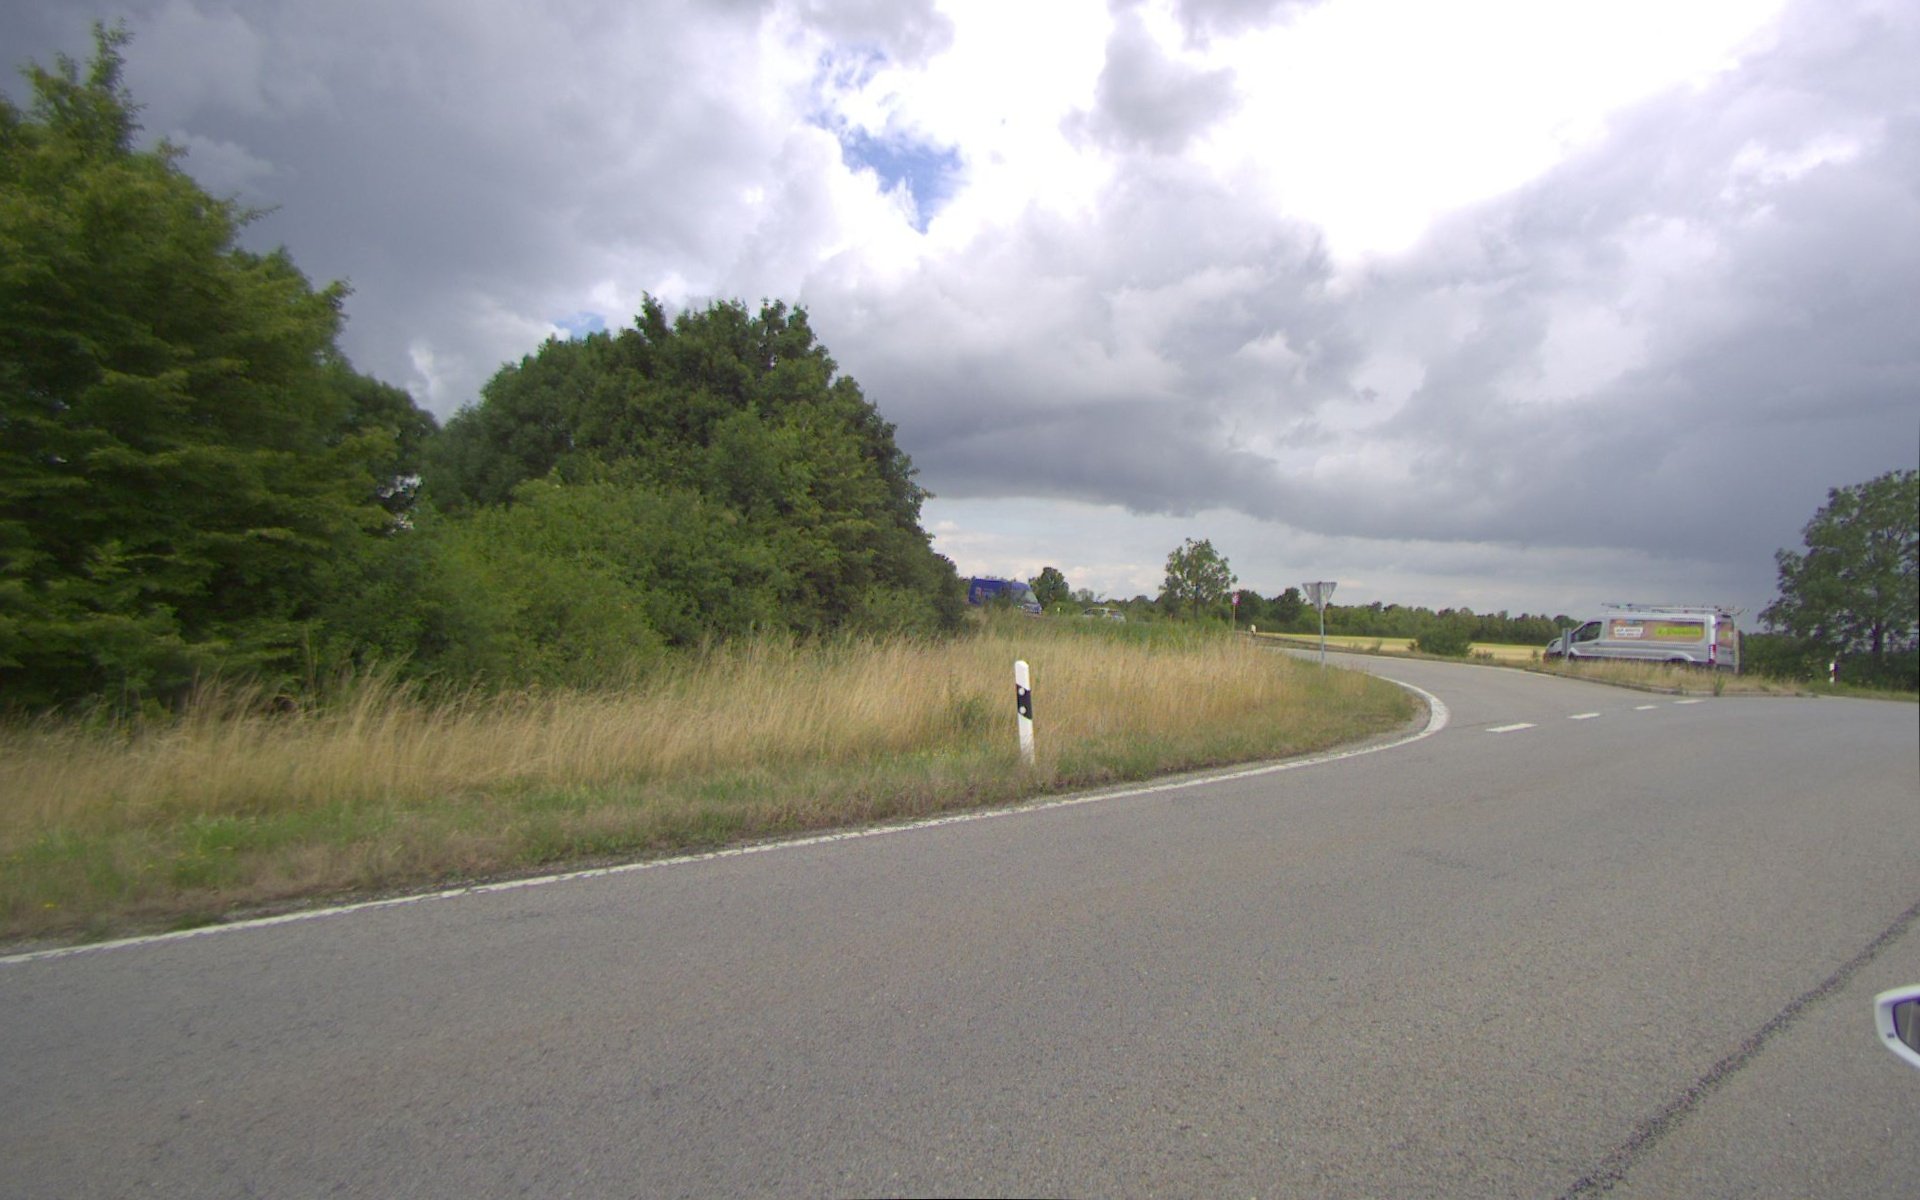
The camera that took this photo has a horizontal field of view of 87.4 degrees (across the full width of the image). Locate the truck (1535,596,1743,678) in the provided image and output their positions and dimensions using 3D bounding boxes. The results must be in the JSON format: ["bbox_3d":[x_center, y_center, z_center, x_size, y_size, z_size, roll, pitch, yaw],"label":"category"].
[{"bbox_3d":[24.778,1.270,36.926,2.045,2.739,5.987,2,0,-34],"label":"truck"}]

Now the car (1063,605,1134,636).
[{"bbox_3d":[8.304,1.215,60.410,1.983,1.684,3.956,2,0,-38],"label":"car"}]

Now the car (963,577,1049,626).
[{"bbox_3d":[2.586,0.087,58.141,2.126,2.674,5.520,2,0,-32],"label":"car"}]
